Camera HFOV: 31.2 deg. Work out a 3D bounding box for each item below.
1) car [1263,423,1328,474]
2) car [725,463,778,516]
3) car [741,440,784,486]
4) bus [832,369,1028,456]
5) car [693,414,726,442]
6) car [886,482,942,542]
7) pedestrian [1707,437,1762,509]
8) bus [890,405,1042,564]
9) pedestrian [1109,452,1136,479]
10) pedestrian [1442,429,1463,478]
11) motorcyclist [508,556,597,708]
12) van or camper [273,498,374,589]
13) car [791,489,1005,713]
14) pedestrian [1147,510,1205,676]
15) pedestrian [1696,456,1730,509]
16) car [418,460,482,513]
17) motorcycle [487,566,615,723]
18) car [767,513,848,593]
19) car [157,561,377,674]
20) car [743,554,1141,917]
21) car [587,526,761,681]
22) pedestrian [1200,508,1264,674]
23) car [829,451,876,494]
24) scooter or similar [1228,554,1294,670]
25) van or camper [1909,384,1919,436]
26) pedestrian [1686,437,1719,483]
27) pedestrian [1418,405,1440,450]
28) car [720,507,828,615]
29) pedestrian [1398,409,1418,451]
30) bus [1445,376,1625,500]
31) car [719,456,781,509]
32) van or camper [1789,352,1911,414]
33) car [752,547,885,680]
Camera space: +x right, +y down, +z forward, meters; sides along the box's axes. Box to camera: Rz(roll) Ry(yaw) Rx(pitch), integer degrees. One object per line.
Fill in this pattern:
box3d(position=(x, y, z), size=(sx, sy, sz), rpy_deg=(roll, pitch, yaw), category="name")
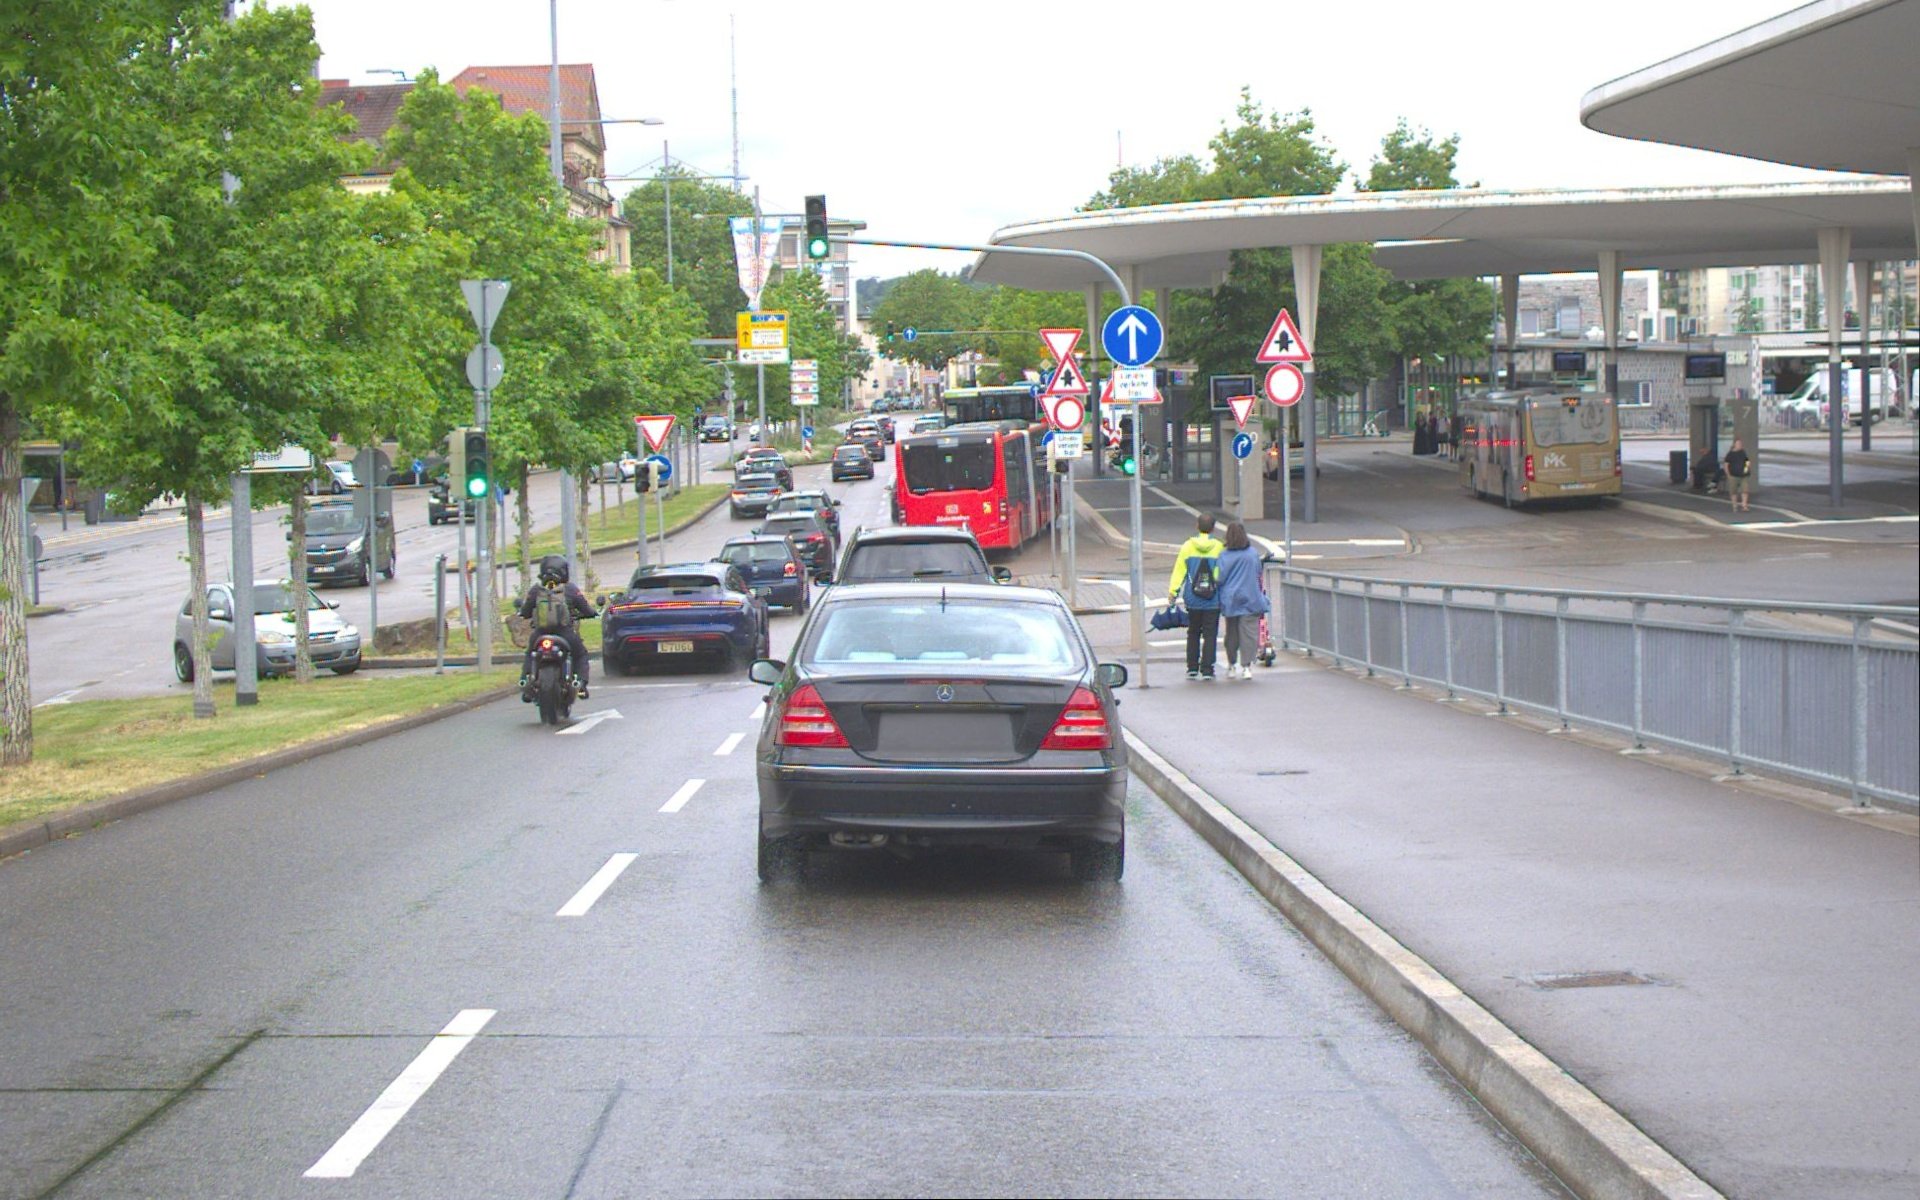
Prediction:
box3d(position=(11.730, -5.319, 120.338), size=(1.711, 1.656, 4.241), rpy_deg=(-2, 4, -1), category="car")
box3d(position=(-7.898, -4.175, 130.564), size=(1.797, 1.900, 3.640), rpy_deg=(1, 0, 0), category="car")
box3d(position=(-8.408, -5.816, 146.472), size=(1.642, 1.798, 3.640), rpy_deg=(1, 0, 0), category="car")
box3d(position=(-1.606, -9.361, 172.332), size=(2.839, 3.973, 11.860), rpy_deg=(-5, 4, -39), category="bus")
box3d(position=(-15.857, -10.932, 217.862), size=(1.780, 1.561, 3.431), rpy_deg=(-5, 4, 0), category="car")
box3d(position=(-1.404, -2.708, 105.165), size=(1.575, 1.561, 3.872), rpy_deg=(-5, 4, 0), category="car")
box3d(position=(18.613, -3.042, 82.607), size=(0.717, 1.678, 1.021), rpy_deg=(-6, 4, -26), category="pedestrian")
box3d(position=(0.165, -2.937, 83.868), size=(3.286, 3.280, 10.880), rpy_deg=(-3, 4, 0), category="bus")
box3d(position=(6.188, -5.112, 131.095), size=(0.914, 0.981, 0.633), rpy_deg=(-1, 0, 14), category="pedestrian")
box3d(position=(17.401, -5.168, 121.513), size=(0.560, 1.686, 0.614), rpy_deg=(-2, 4, -7), category="pedestrian")
box3d(position=(-3.821, 0.291, 32.266), size=(0.641, 1.342, 0.689), rpy_deg=(-3, 4, 3), category="motorcyclist")
box3d(position=(-15.879, -1.376, 85.988), size=(2.216, 2.065, 5.285), rpy_deg=(-4, 1, -9), category="van or camper")
box3d(position=(-0.628, -0.068, 36.237), size=(1.957, 1.869, 4.875), rpy_deg=(-5, 4, 0), category="car")
box3d(position=(2.195, -0.075, 35.000), size=(0.522, 1.664, 0.580), rpy_deg=(-1, 1, -1), category="pedestrian")
box3d(position=(20.353, -3.187, 92.935), size=(0.793, 1.373, 0.633), rpy_deg=(-2, 4, 17), category="pedestrian")
box3d(position=(-18.825, -4.222, 126.948), size=(1.908, 1.656, 4.860), rpy_deg=(-2, 5, -4), category="car")
box3d(position=(-3.818, 0.397, 32.221), size=(0.793, 1.257, 1.855), rpy_deg=(-4, 4, 3), category="motorcycle")
box3d(position=(-3.518, -1.113, 79.653), size=(1.575, 1.499, 3.872), rpy_deg=(-4, 4, 1), category="car")
box3d(position=(-9.987, 0.221, 49.367), size=(1.632, 1.443, 3.876), rpy_deg=(-5, 3, -34), category="car")
box3d(position=(-0.108, 0.558, 17.011), size=(1.697, 1.457, 4.304), rpy_deg=(-1, 2, -1), category="car")
box3d(position=(-3.668, -0.001, 44.773), size=(1.816, 1.565, 4.405), rpy_deg=(-5, 4, 0), category="car")
box3d(position=(2.763, -0.087, 34.996), size=(0.589, 1.665, 0.580), rpy_deg=(0, -1, -1), category="pedestrian")
box3d(position=(-4.458, -5.278, 142.743), size=(1.865, 1.678, 4.000), rpy_deg=(1, 1, -1), category="car")
box3d(position=(3.278, 0.118, 37.567), size=(0.463, 1.217, 1.859), rpy_deg=(-3, 0, -1), category="scooter or similar")
box3d(position=(40.694, -7.806, 140.835), size=(1.993, 2.095, 5.481), rpy_deg=(0, 2, -1), category="van or camper")
box3d(position=(20.515, -3.860, 94.966), size=(0.793, 1.222, 0.633), rpy_deg=(-2, 4, 17), category="pedestrian")
box3d(position=(17.929, -6.595, 131.392), size=(0.580, 1.710, 0.560), rpy_deg=(1, 0, 35), category="pedestrian")
box3d(position=(-3.365, -0.742, 62.899), size=(1.676, 1.617, 3.872), rpy_deg=(-5, 4, 0), category="car")
box3d(position=(17.118, -6.490, 131.332), size=(0.580, 1.573, 0.560), rpy_deg=(1, 0, 29), category="pedestrian")
box3d(position=(15.805, -4.605, 95.477), size=(2.721, 3.032, 12.092), rpy_deg=(-3, 4, 0), category="bus")
box3d(position=(-6.946, -3.880, 114.043), size=(1.865, 1.678, 4.000), rpy_deg=(1, 1, -1), category="car")
box3d(position=(38.080, -9.274, 147.229), size=(4.607, 2.549, 2.119), rpy_deg=(0, 2, -1), category="van or camper")
box3d(position=(-2.074, 0.170, 51.397), size=(1.741, 1.561, 3.872), rpy_deg=(-5, 4, 0), category="car")
